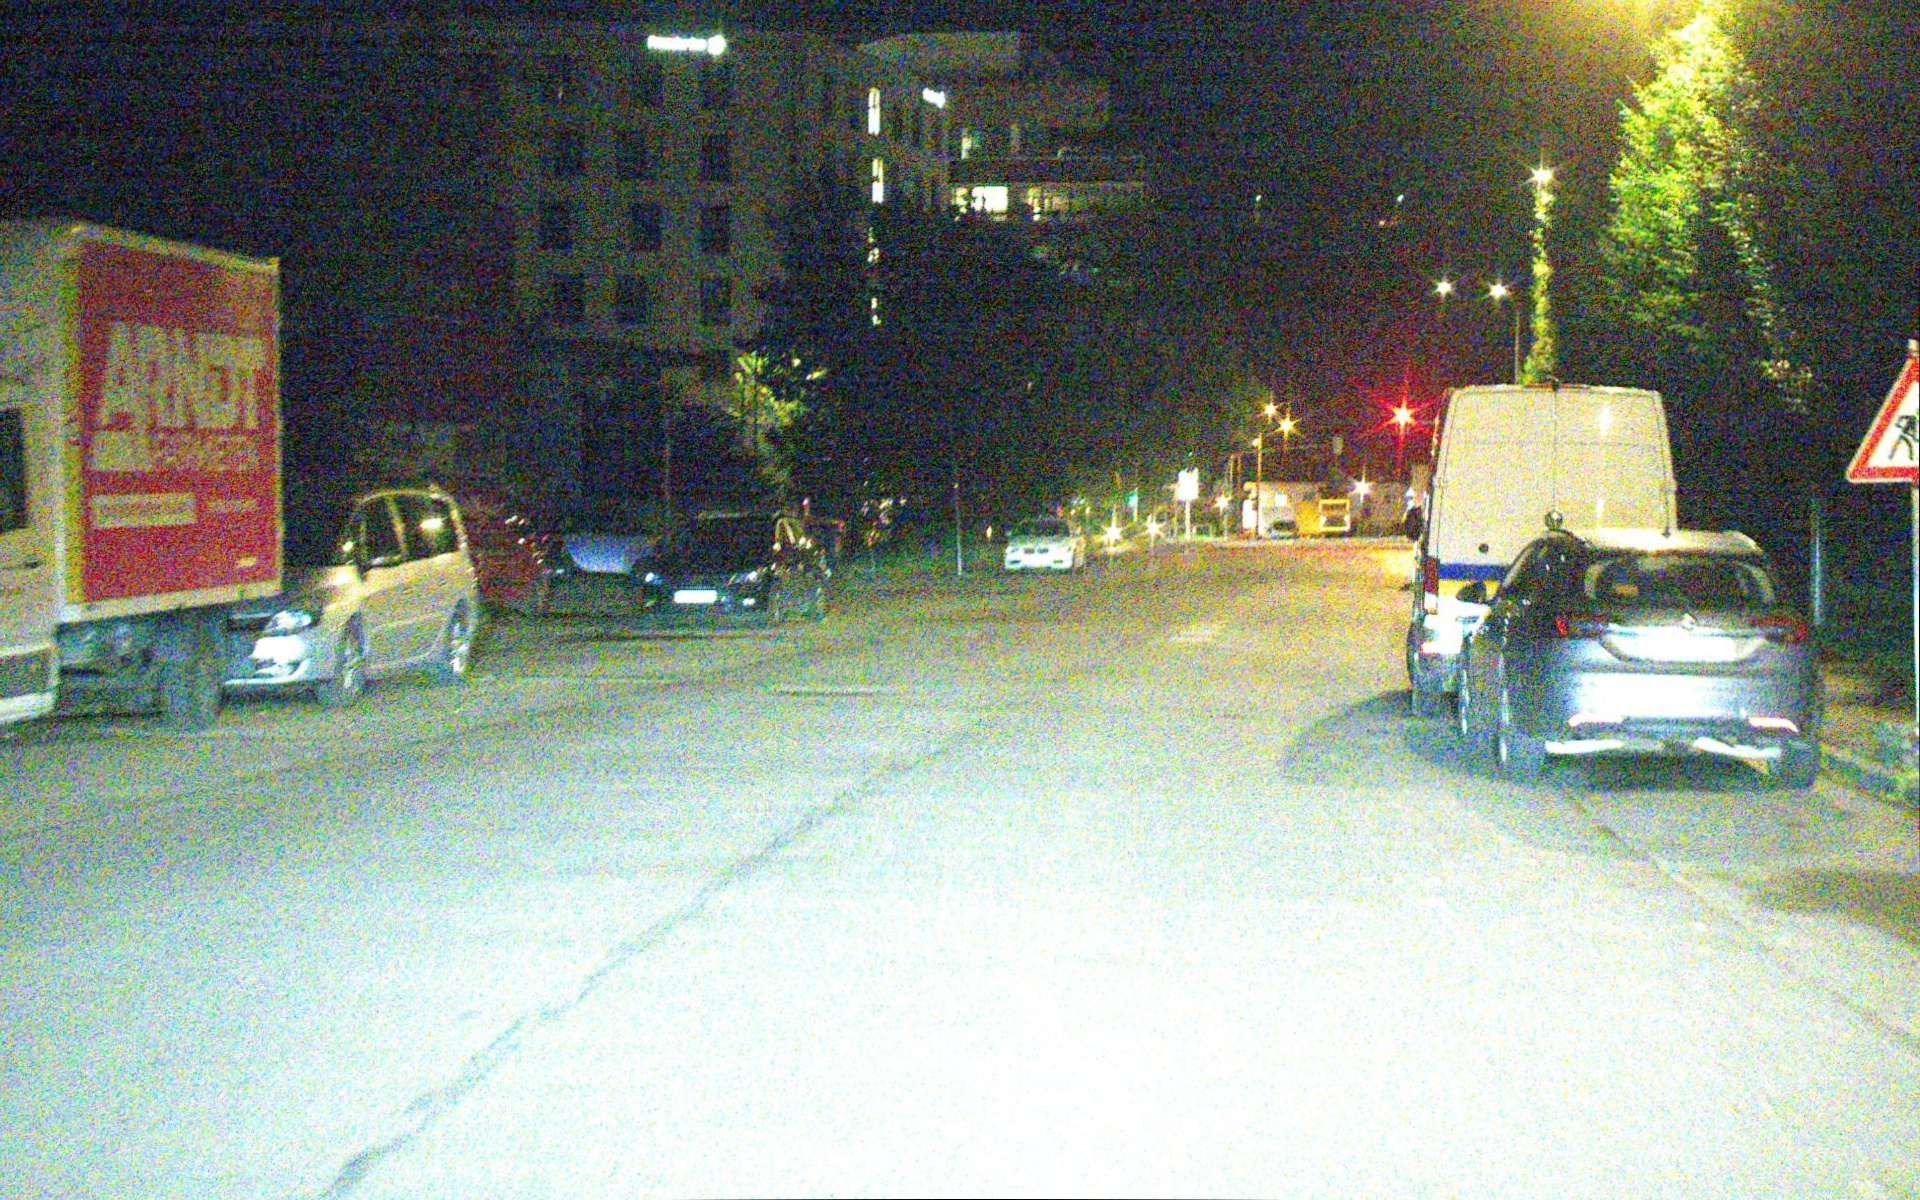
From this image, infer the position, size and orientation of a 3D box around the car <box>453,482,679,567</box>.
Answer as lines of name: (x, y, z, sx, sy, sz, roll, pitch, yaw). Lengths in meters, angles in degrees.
car: (-7.593, -1.472, 66.464, 3.988, 1.565, 1.817, -1, 2, 8)

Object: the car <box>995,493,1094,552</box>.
car: (2.131, -1.932, 85.359, 1.912, 1.399, 4.337, 0, 2, 9)

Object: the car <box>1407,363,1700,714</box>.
car: (4.692, -0.545, 27.974, 2.021, 2.518, 6.050, 1, 2, 7)

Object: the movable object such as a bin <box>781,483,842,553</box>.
movable object such as a bin: (-3.158, -1.751, 73.335, 1.164, 1.490, 1.065, 0, 2, 5)

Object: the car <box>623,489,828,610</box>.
car: (-3.067, -0.689, 45.835, 1.756, 1.521, 4.321, 1, 1, 9)

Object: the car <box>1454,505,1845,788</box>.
car: (4.056, 0.187, 20.910, 1.711, 1.503, 4.640, 0, 2, 4)

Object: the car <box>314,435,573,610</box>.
car: (-7.297, -1.137, 49.149, 1.994, 2.313, 4.964, -2, 2, 12)

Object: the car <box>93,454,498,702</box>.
car: (-5.230, -0.235, 27.779, 1.829, 1.810, 4.837, 0, 2, 6)

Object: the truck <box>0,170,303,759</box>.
truck: (-6.385, -0.820, 21.336, 2.544, 3.269, 7.311, 0, 2, 6)
